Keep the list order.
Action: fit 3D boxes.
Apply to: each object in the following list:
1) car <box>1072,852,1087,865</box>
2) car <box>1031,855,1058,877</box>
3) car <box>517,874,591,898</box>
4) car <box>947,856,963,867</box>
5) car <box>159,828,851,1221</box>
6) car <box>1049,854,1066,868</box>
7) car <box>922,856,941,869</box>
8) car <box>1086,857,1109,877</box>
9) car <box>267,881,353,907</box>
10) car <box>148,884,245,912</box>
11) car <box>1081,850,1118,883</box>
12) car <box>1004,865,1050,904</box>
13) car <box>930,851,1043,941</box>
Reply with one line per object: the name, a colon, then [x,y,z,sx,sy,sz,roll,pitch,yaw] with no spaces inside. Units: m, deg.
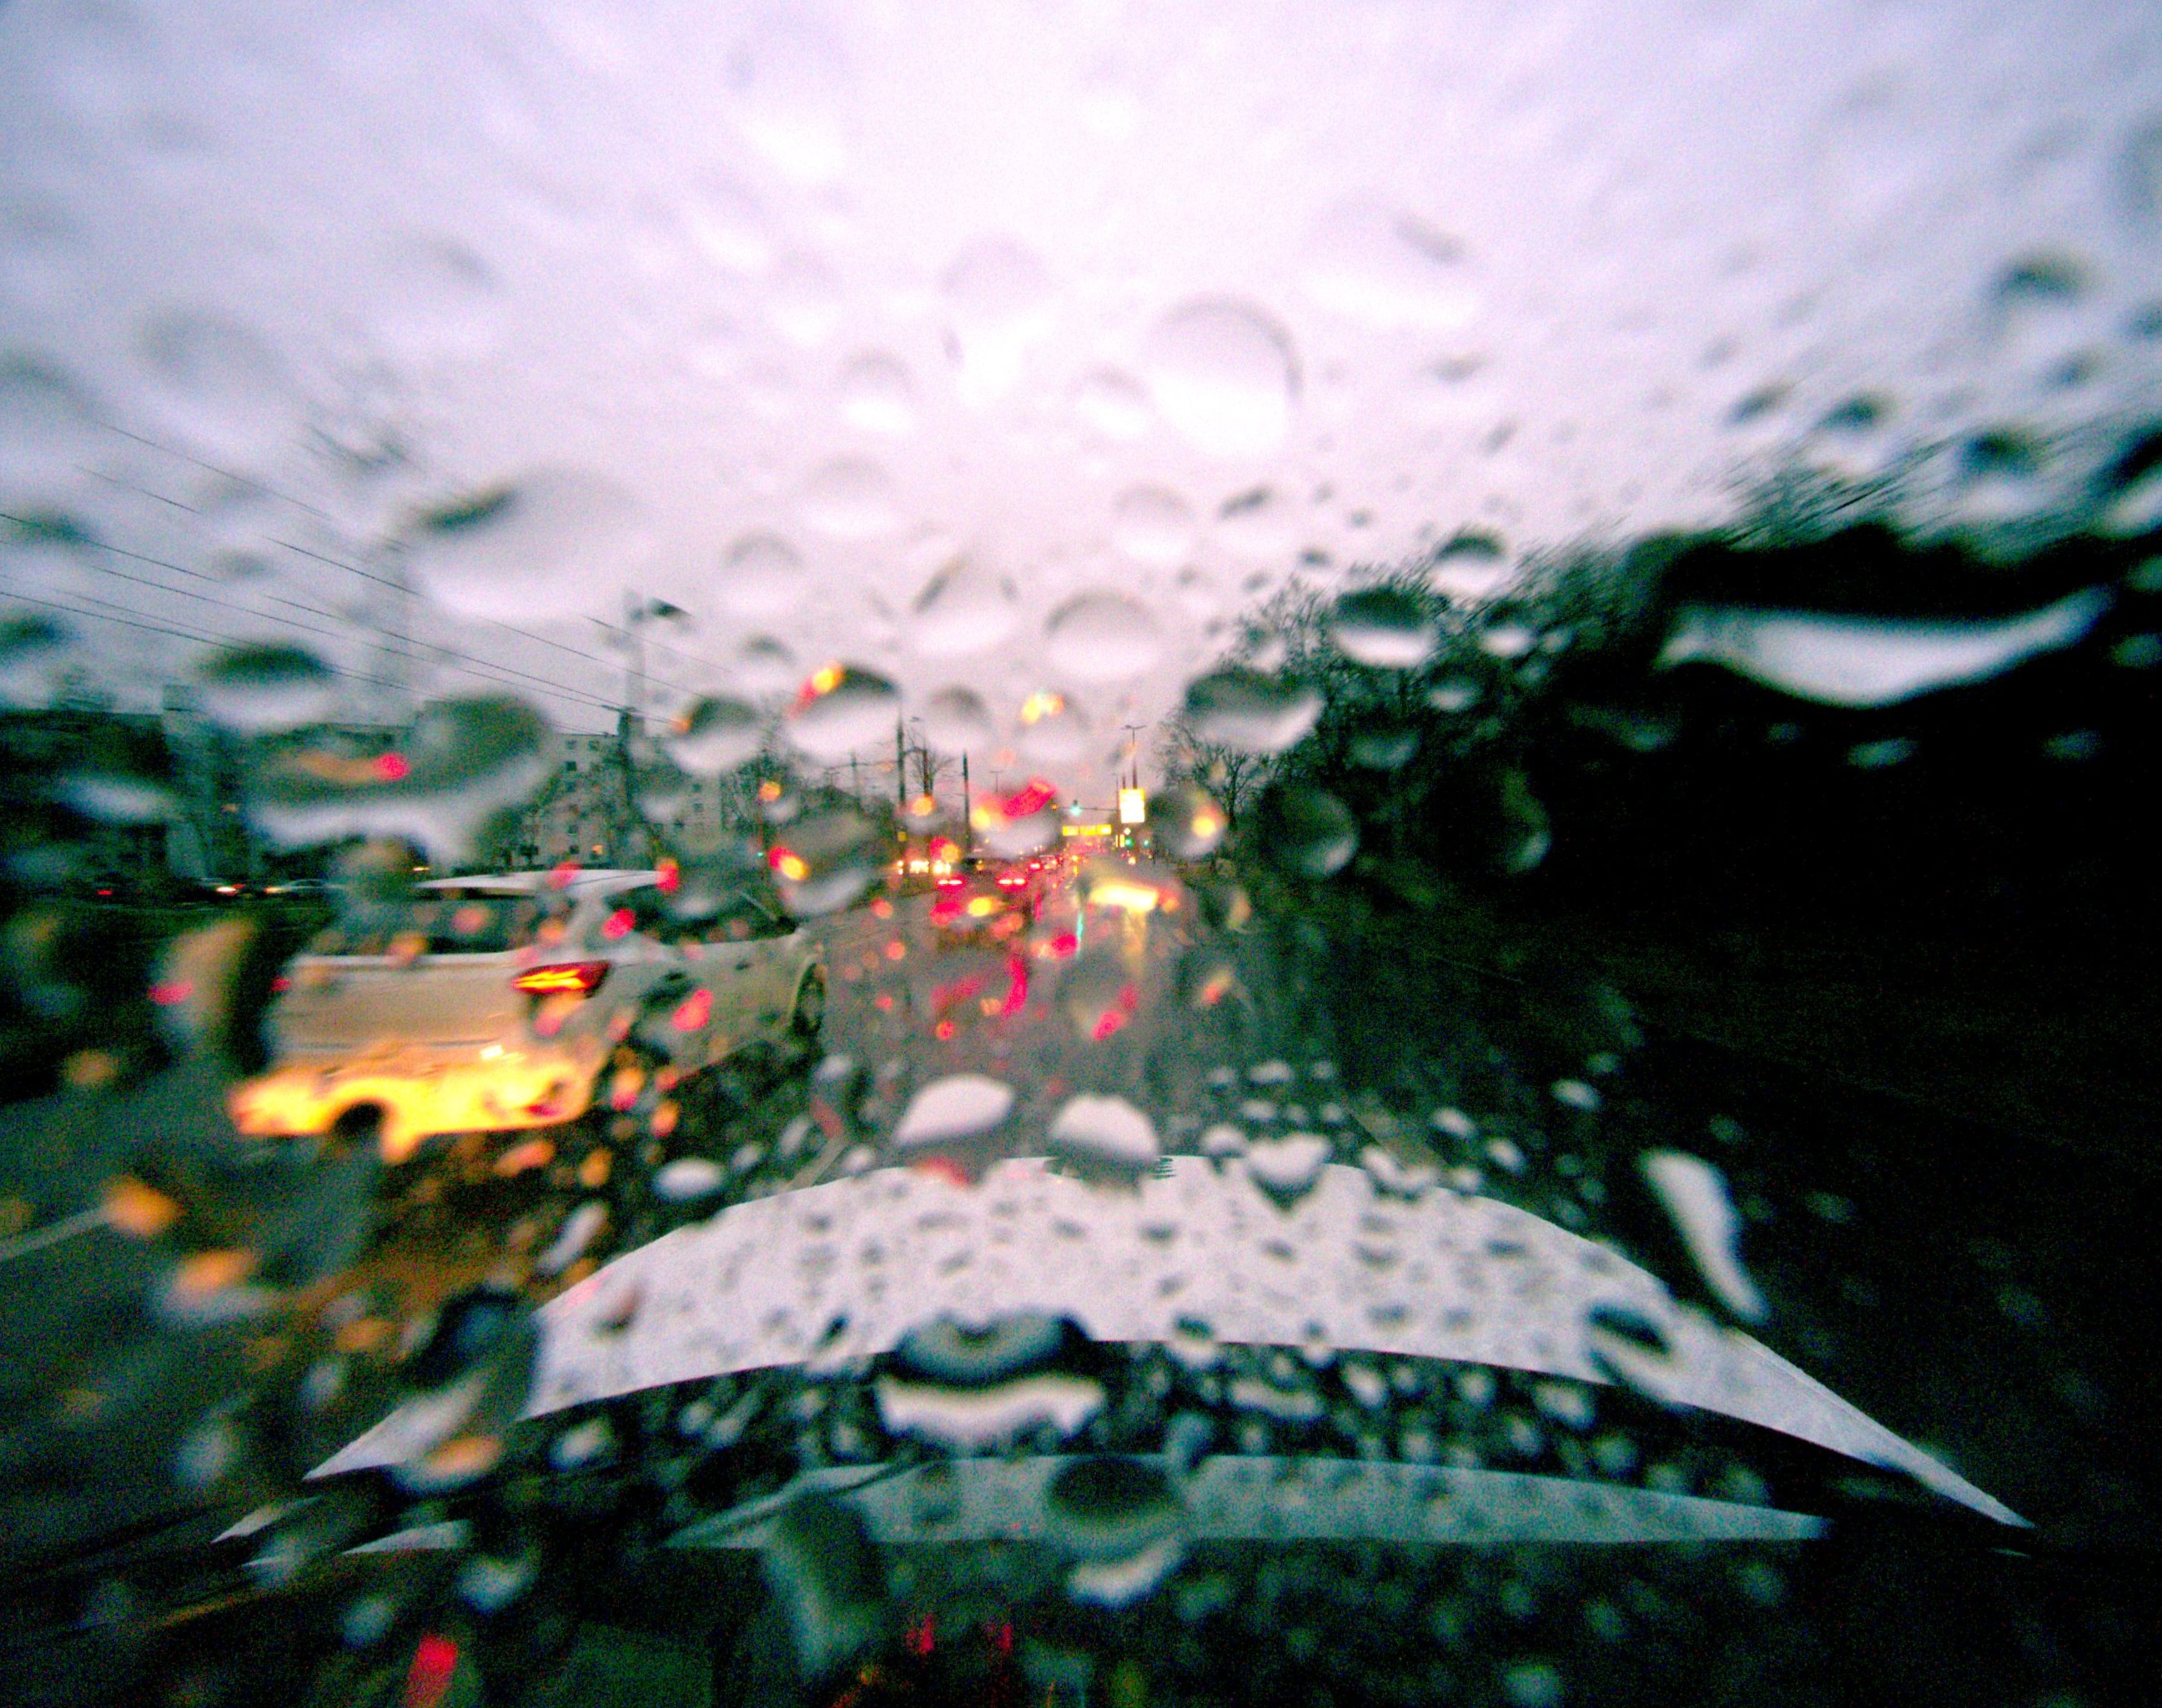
car: [-0.185,0.531,101.913,1.816,1.504,4.001,-2,0,1]
car: [-2.915,0.968,65.645,1.816,1.648,4.001,-2,0,1]
car: [-39.946,2.379,61.857,4.450,1.544,1.835,-3,0,-27]
car: [-17.536,1.092,113.340,1.647,1.420,3.325,-2,0,0]
car: [-3.090,0.737,5.612,1.708,1.648,4.148,-2,0,1]
car: [-2.406,0.695,85.095,1.500,1.339,4.001,-2,0,1]
car: [-20.512,1.168,111.775,1.764,1.553,3.945,-2,0,-1]
car: [1.458,1.150,72.135,1.987,1.662,4.000,-1,-1,1]
car: [-54.379,2.766,57.508,4.009,1.544,1.698,-3,0,-27]
car: [-59.476,2.920,54.834,4.009,1.544,1.698,-3,0,-27]
car: [0.985,0.629,44.036,1.816,1.648,4.467,-2,0,1]
car: [-2.545,1.428,39.248,1.816,1.648,4.001,-2,0,1]
car: [-1.907,0.796,17.741,1.816,1.648,4.467,-2,0,1]
